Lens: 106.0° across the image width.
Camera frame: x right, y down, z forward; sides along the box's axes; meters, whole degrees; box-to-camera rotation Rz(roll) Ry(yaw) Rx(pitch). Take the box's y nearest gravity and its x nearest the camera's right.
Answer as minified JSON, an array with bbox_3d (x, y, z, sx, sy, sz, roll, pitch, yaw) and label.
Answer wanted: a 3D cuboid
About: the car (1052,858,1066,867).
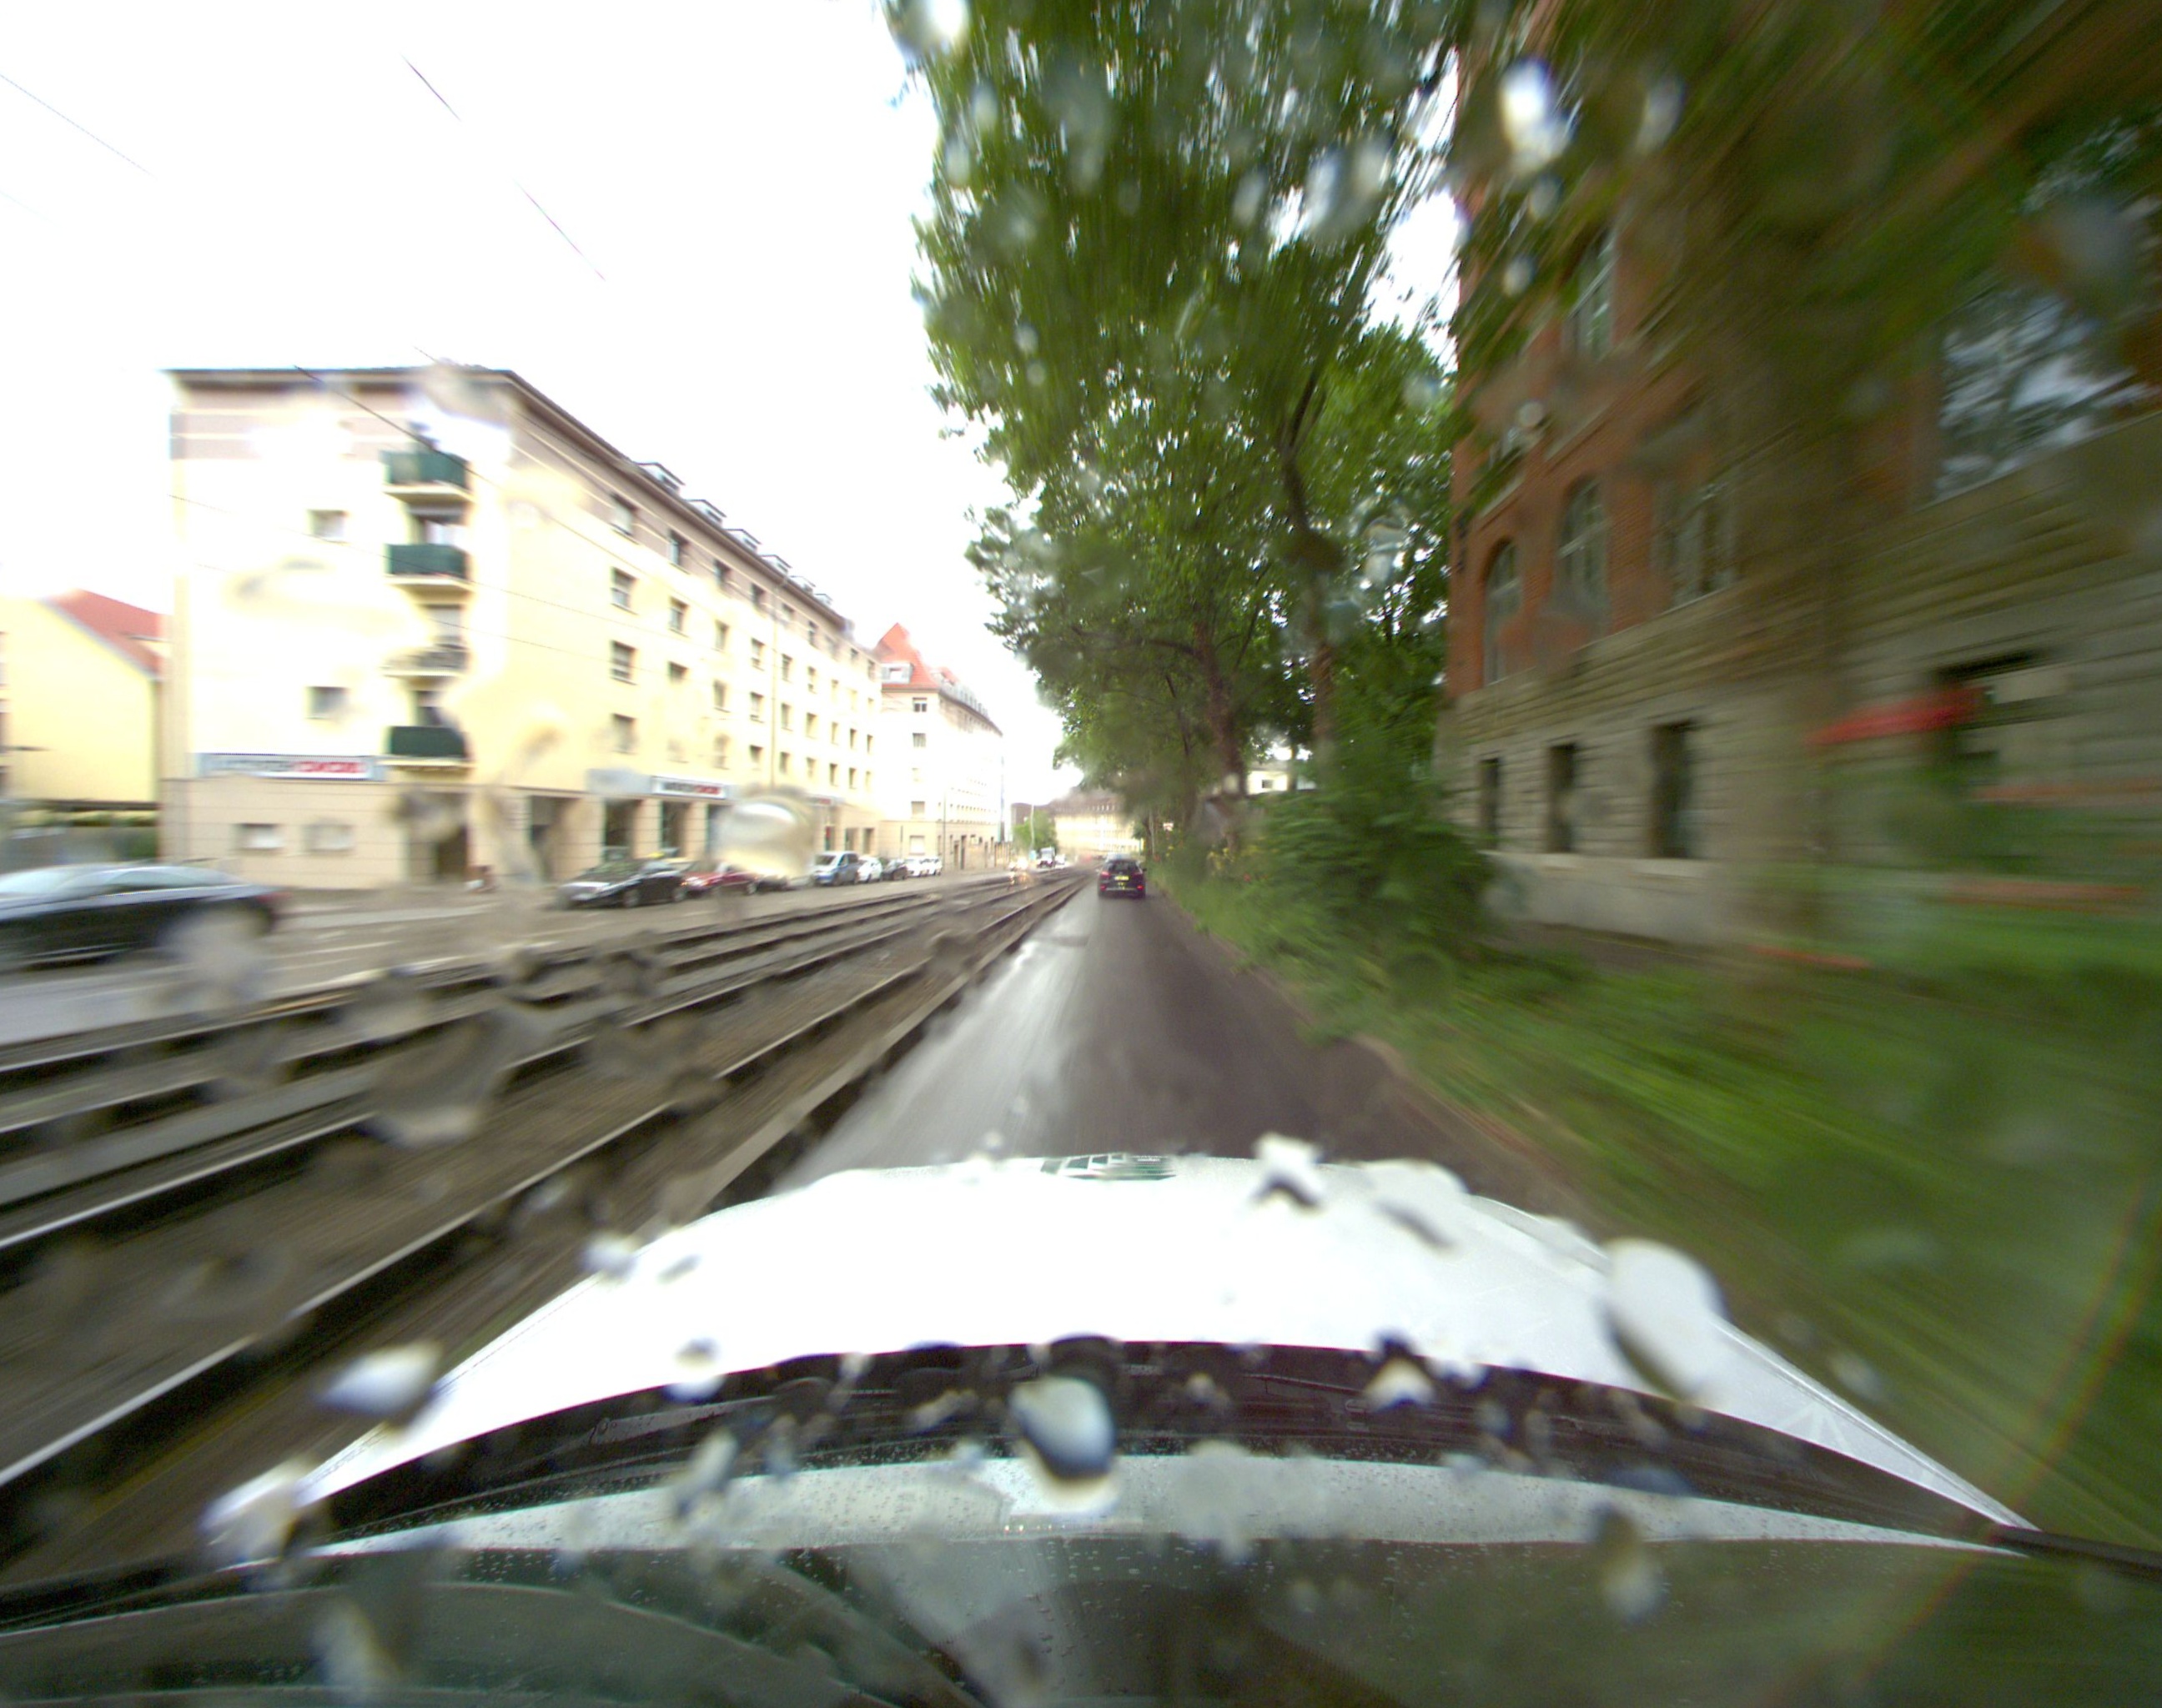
[{"bbox_3d":[-3.570,1.367,132.628,1.872,1.486,4.858,1,0,3],"label":"car"}]

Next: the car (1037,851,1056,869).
[{"bbox_3d":[-4.798,0.883,113.983,1.985,2.452,6.003,0,-1,3],"label":"car"}]

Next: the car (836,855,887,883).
[{"bbox_3d":[-12.718,0.856,47.502,1.685,1.439,4.050,-3,0,2],"label":"car"}]

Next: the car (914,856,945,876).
[{"bbox_3d":[-11.999,0.964,64.582,1.702,1.450,3.542,2,-1,1],"label":"car"}]

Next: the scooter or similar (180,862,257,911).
[{"bbox_3d":[-20.250,0.758,19.125,1.288,1.112,0.379,1,0,-4],"label":"scooter or similar"}]

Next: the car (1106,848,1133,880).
[{"bbox_3d":[2.517,0.652,53.989,1.734,2.014,3.904,0,-1,1],"label":"car"}]

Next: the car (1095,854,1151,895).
[{"bbox_3d":[1.570,0.769,31.745,1.927,1.453,4.316,1,-1,0],"label":"car"}]

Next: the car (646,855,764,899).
[{"bbox_3d":[-13.714,0.811,30.088,1.843,1.432,4.835,2,-1,3],"label":"car"}]

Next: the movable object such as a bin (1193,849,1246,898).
[{"bbox_3d":[4.256,0.582,25.023,1.389,1.453,1.222,-2,0,18],"label":"movable object such as a bin"}]

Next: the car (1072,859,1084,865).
[{"bbox_3d":[-0.830,2.255,219.448,2.003,1.542,3.968,-1,0,-24],"label":"car"}]

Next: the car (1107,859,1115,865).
[{"bbox_3d":[7.346,1.939,201.323,1.655,1.476,3.637,0,-1,-5],"label":"car"}]

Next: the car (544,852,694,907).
[{"bbox_3d":[-13.820,0.725,24.754,1.847,1.508,4.987,0,-1,-2],"label":"car"}]

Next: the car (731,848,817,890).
[{"bbox_3d":[-13.498,0.653,36.102,1.859,1.717,4.464,0,-1,3],"label":"car"}]

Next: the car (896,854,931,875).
[{"bbox_3d":[-12.269,0.759,59.844,1.698,1.396,3.935,2,0,0],"label":"car"}]

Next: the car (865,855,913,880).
[{"bbox_3d":[-12.338,0.847,52.585,1.806,1.499,4.585,1,0,3],"label":"car"}]

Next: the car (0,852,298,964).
[{"bbox_3d":[-14.303,0.693,11.608,1.673,1.396,4.624,0,-1,2],"label":"car"}]

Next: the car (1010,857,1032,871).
[{"bbox_3d":[-6.472,1.025,87.816,1.704,1.462,4.285,0,0,4],"label":"car"}]

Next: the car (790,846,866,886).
[{"bbox_3d":[-13.015,0.598,42.289,1.986,1.905,5.462,2,0,2],"label":"car"}]
